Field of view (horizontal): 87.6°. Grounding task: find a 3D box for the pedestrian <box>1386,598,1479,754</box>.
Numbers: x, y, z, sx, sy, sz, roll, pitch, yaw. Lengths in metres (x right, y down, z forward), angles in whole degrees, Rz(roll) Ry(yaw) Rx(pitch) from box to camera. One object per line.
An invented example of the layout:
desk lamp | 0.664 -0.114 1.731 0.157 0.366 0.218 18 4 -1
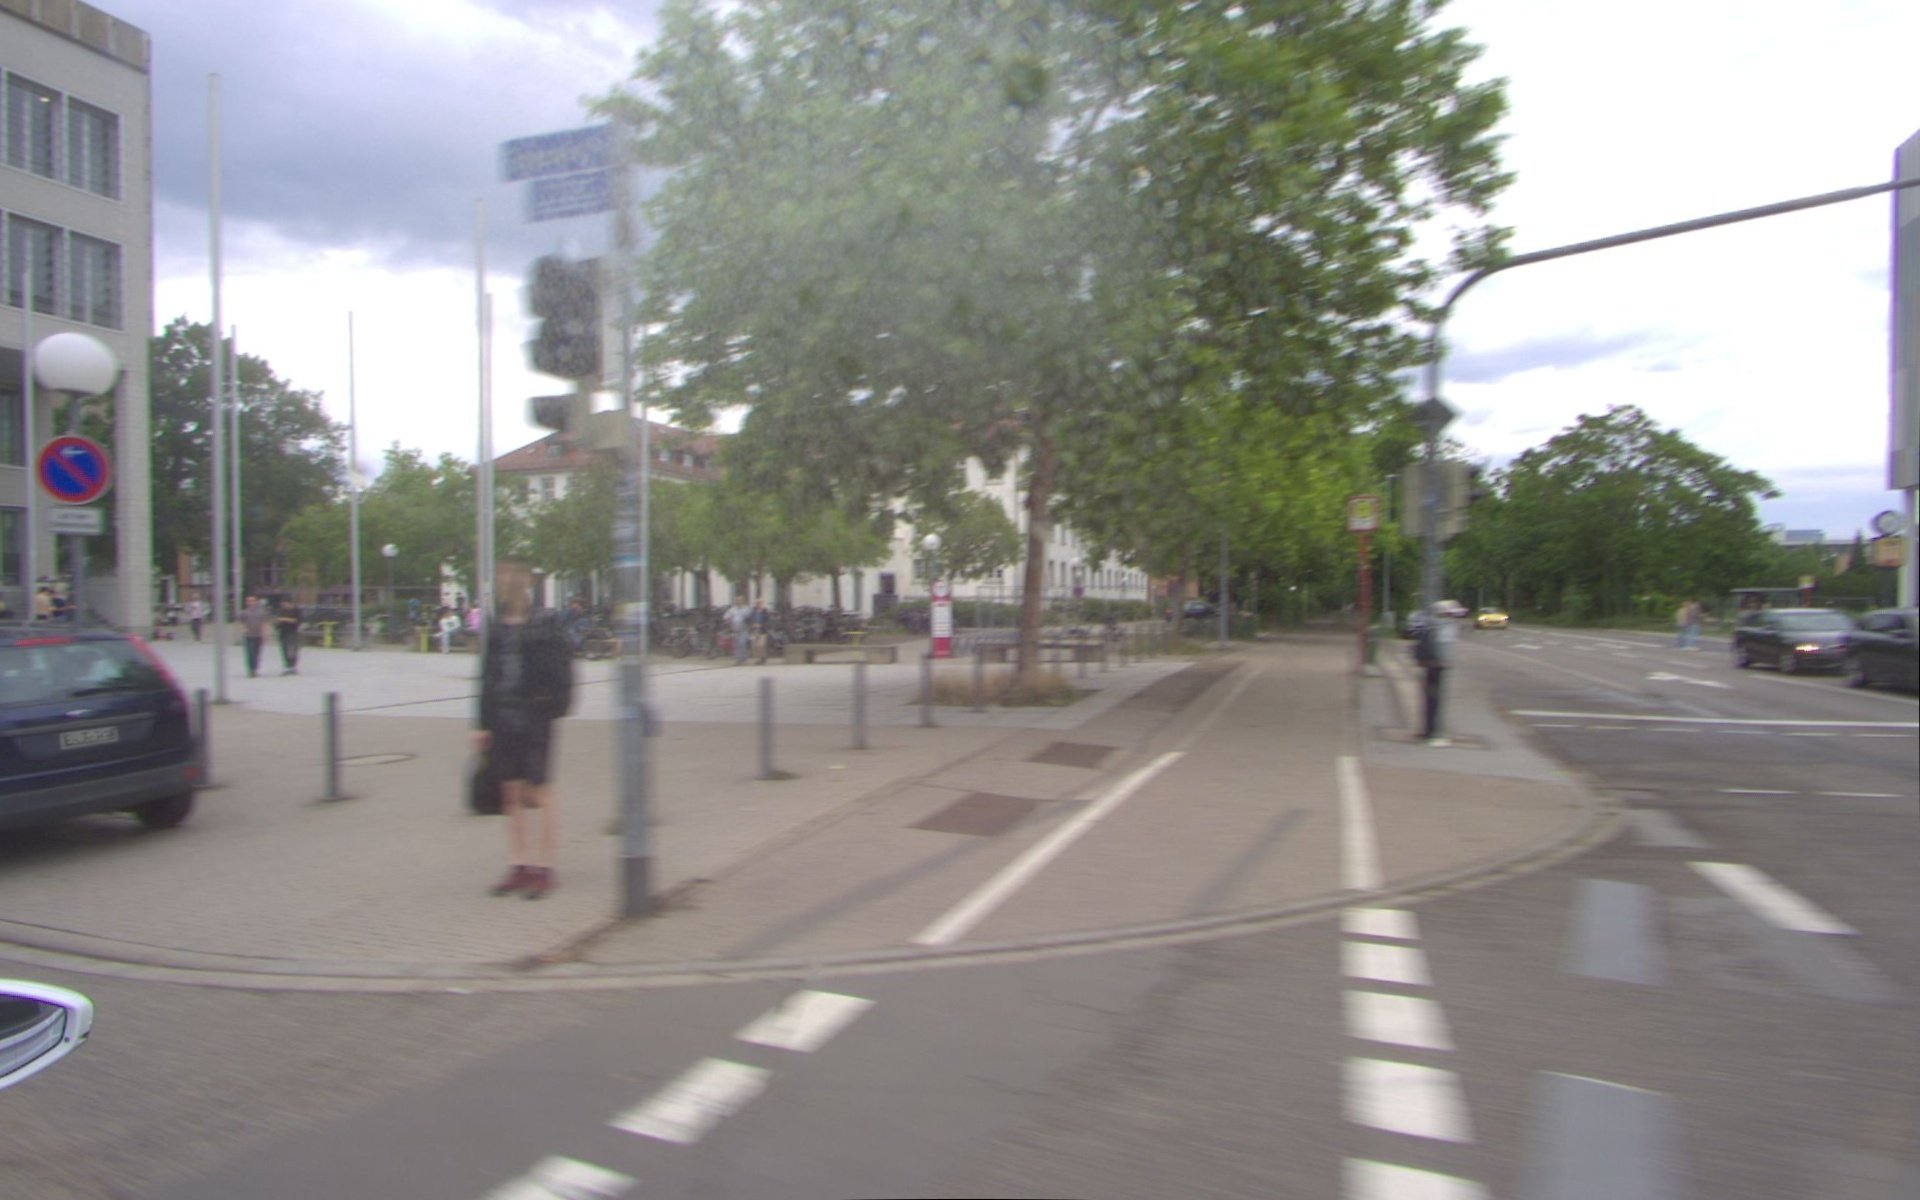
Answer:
pedestrian | 5.280 0.808 11.186 0.782 1.649 0.753 2 2 34

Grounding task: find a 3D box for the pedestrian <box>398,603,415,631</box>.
pedestrian | -32.865 0.995 59.449 0.657 1.662 0.658 0 0 34

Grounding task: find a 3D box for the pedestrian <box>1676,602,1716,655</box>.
pedestrian | 25.588 0.997 34.843 0.701 1.812 0.894 0 0 -3

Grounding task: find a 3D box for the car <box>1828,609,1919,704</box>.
car | 16.458 0.885 16.396 1.965 1.508 4.284 -2 -2 20

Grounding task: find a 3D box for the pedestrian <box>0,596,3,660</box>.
pedestrian | -28.190 0.817 28.921 0.609 1.864 0.591 0 0 22

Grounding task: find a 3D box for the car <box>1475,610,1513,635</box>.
car | 37.052 1.557 69.600 1.966 1.639 4.183 0 -1 23

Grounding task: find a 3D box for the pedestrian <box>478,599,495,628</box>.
pedestrian | -28.219 0.805 59.707 0.654 1.662 0.661 0 0 19

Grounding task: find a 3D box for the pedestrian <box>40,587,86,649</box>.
pedestrian | -26.437 0.524 29.518 0.723 1.808 0.721 0 0 7

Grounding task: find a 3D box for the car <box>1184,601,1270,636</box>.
car | 13.664 0.955 51.445 3.987 1.776 2.000 0 0 4

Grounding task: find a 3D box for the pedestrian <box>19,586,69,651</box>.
pedestrian | -25.899 0.519 28.314 0.723 1.808 0.764 0 0 7

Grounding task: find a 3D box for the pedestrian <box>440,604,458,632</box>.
pedestrian | -29.923 1.042 58.626 0.654 1.662 0.661 0 0 18

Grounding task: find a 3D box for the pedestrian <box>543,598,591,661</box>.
pedestrian | -11.084 0.849 28.281 0.951 1.724 0.852 -2 -3 13

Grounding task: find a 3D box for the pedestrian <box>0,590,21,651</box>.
pedestrian | -27.401 0.581 28.528 0.593 1.738 0.777 0 0 22

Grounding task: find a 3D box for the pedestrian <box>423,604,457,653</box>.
pedestrian | -15.483 0.854 29.825 0.755 1.431 0.673 0 0 -11

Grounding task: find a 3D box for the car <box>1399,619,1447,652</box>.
car | 22.366 1.682 48.450 1.966 1.531 3.989 0 -1 23

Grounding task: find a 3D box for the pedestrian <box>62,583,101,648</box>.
pedestrian | -25.638 0.444 29.230 0.593 1.890 0.777 -1 1 -20

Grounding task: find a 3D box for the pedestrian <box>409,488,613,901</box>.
pedestrian | -2.392 0.459 5.339 0.786 1.978 0.750 0 0 -45

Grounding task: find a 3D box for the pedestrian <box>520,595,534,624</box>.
pedestrian | -24.529 0.533 56.764 0.651 1.663 0.665 -1 1 -16

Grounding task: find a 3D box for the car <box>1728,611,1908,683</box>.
car | 19.173 0.983 22.604 1.966 1.472 3.989 0 -1 23

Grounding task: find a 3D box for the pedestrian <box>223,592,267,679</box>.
pedestrian | -15.340 0.759 21.487 0.634 1.831 0.644 3 0 -30

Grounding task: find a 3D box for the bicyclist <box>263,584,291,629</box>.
bicyclist | -26.163 0.249 38.367 0.865 1.662 0.862 1 0 -34

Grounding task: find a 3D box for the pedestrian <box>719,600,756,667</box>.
pedestrian | -5.805 0.862 26.146 0.668 1.738 0.671 0 1 27

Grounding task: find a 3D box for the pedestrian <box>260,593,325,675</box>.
pedestrian | -14.657 0.738 21.999 0.892 1.735 0.694 3 1 -3

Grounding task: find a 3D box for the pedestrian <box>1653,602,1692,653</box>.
pedestrian | 25.476 0.979 35.811 0.701 1.812 0.894 0 0 -3

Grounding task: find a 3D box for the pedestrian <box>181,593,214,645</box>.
pedestrian | -25.009 0.622 32.850 0.728 1.662 0.925 3 0 -34

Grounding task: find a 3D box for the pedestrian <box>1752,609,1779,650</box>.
pedestrian | 35.986 1.306 44.732 0.796 1.833 0.586 0 0 25

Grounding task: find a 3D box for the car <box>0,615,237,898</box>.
car | -7.034 0.890 6.697 4.035 1.522 1.623 0 2 22

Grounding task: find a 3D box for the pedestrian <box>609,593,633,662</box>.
pedestrian | -9.232 0.743 27.263 0.504 1.858 0.670 0 0 -29

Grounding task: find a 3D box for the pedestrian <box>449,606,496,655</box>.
pedestrian | -14.481 0.897 29.767 0.950 1.439 0.852 0 0 10

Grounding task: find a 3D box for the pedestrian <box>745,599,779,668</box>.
pedestrian | -5.110 0.858 25.841 0.647 1.738 0.583 0 0 27

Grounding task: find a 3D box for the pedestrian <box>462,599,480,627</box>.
pedestrian | -29.306 0.752 60.021 0.682 1.662 0.661 0 0 19
